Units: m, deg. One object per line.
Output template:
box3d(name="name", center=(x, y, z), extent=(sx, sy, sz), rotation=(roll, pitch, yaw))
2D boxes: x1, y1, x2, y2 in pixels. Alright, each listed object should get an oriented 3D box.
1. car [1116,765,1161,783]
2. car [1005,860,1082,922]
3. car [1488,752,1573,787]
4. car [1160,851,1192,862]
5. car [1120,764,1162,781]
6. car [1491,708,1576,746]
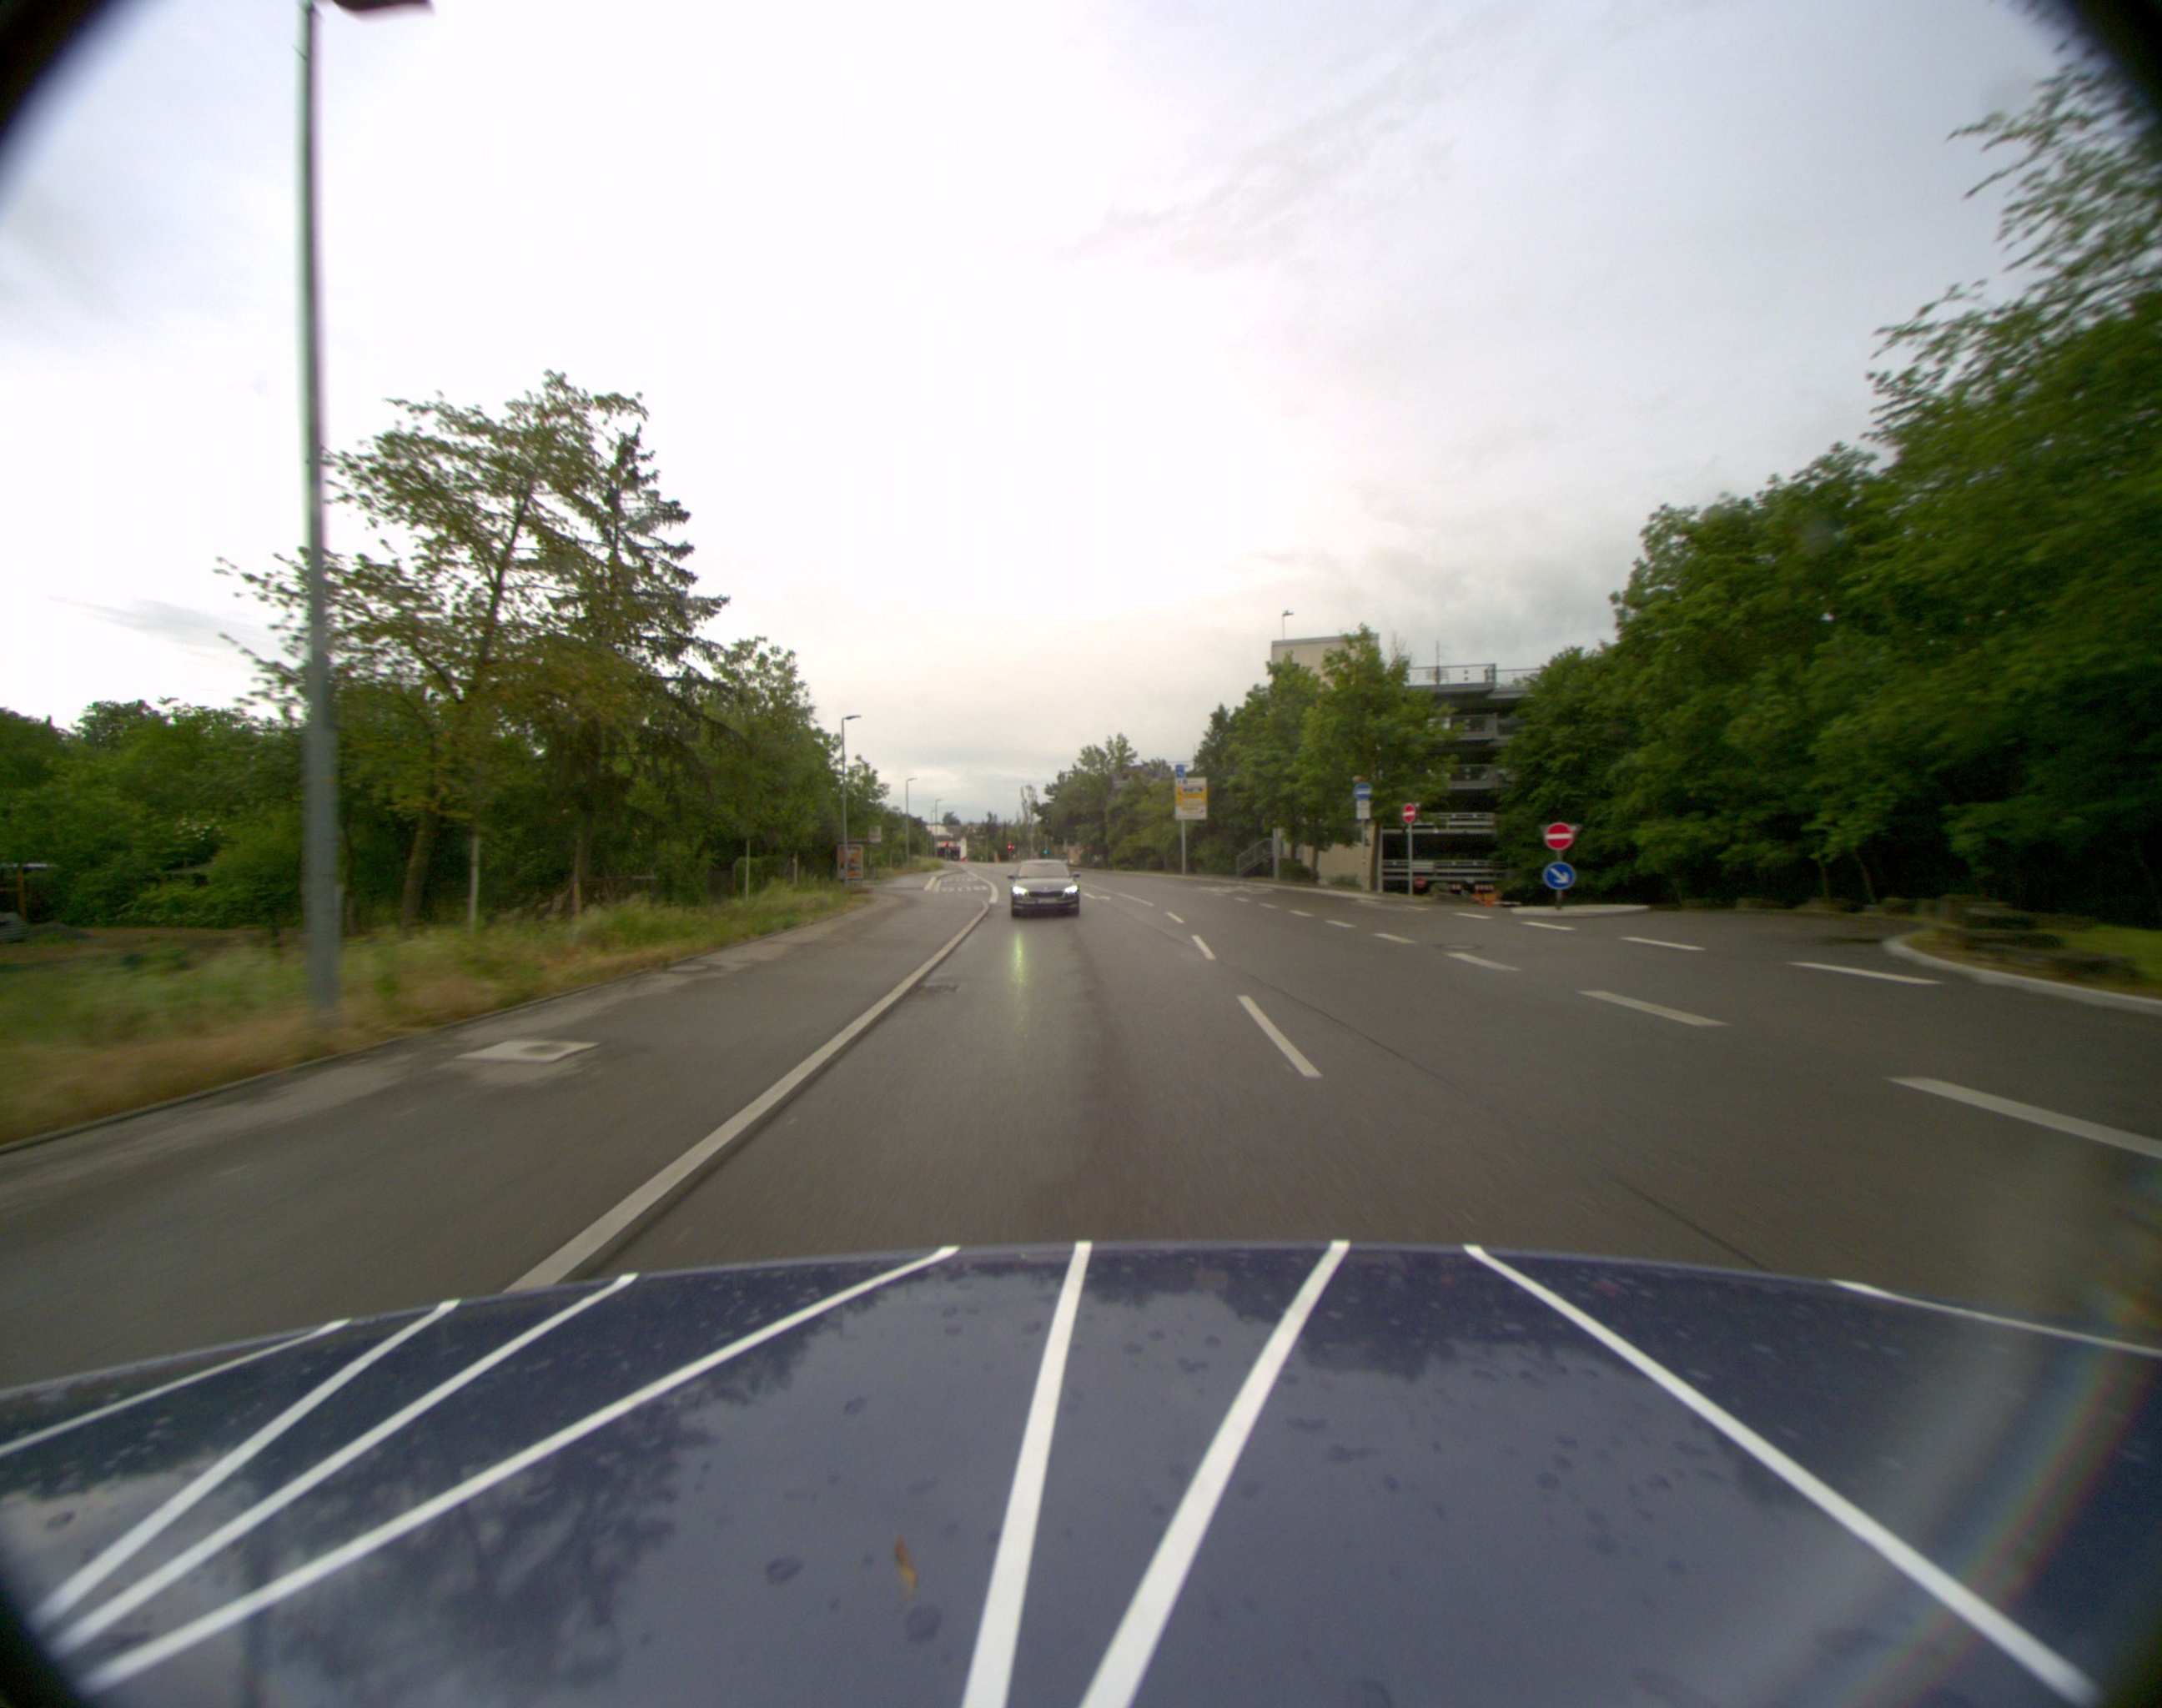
box3d(name="car", center=(5.704, -7.880, 75.257), extent=(3.991, 1.510, 2.003), rotation=(1, 0, 18))
box3d(name="car", center=(-0.922, 0.925, 20.958), extent=(1.839, 1.448, 4.202), rotation=(-2, 0, 0))
box3d(name="car", center=(27.115, -5.071, 45.927), extent=(3.993, 1.761, 2.003), rotation=(0, -1, 13))
box3d(name="car", center=(12.893, 0.334, 103.191), extent=(3.991, 1.510, 2.003), rotation=(1, 0, 18))
box3d(name="car", center=(6.264, -8.480, 79.325), extent=(3.991, 1.510, 2.003), rotation=(1, 0, 18))
box3d(name="car", center=(27.091, -7.583, 45.611), extent=(3.993, 1.761, 2.003), rotation=(0, -1, 13))
